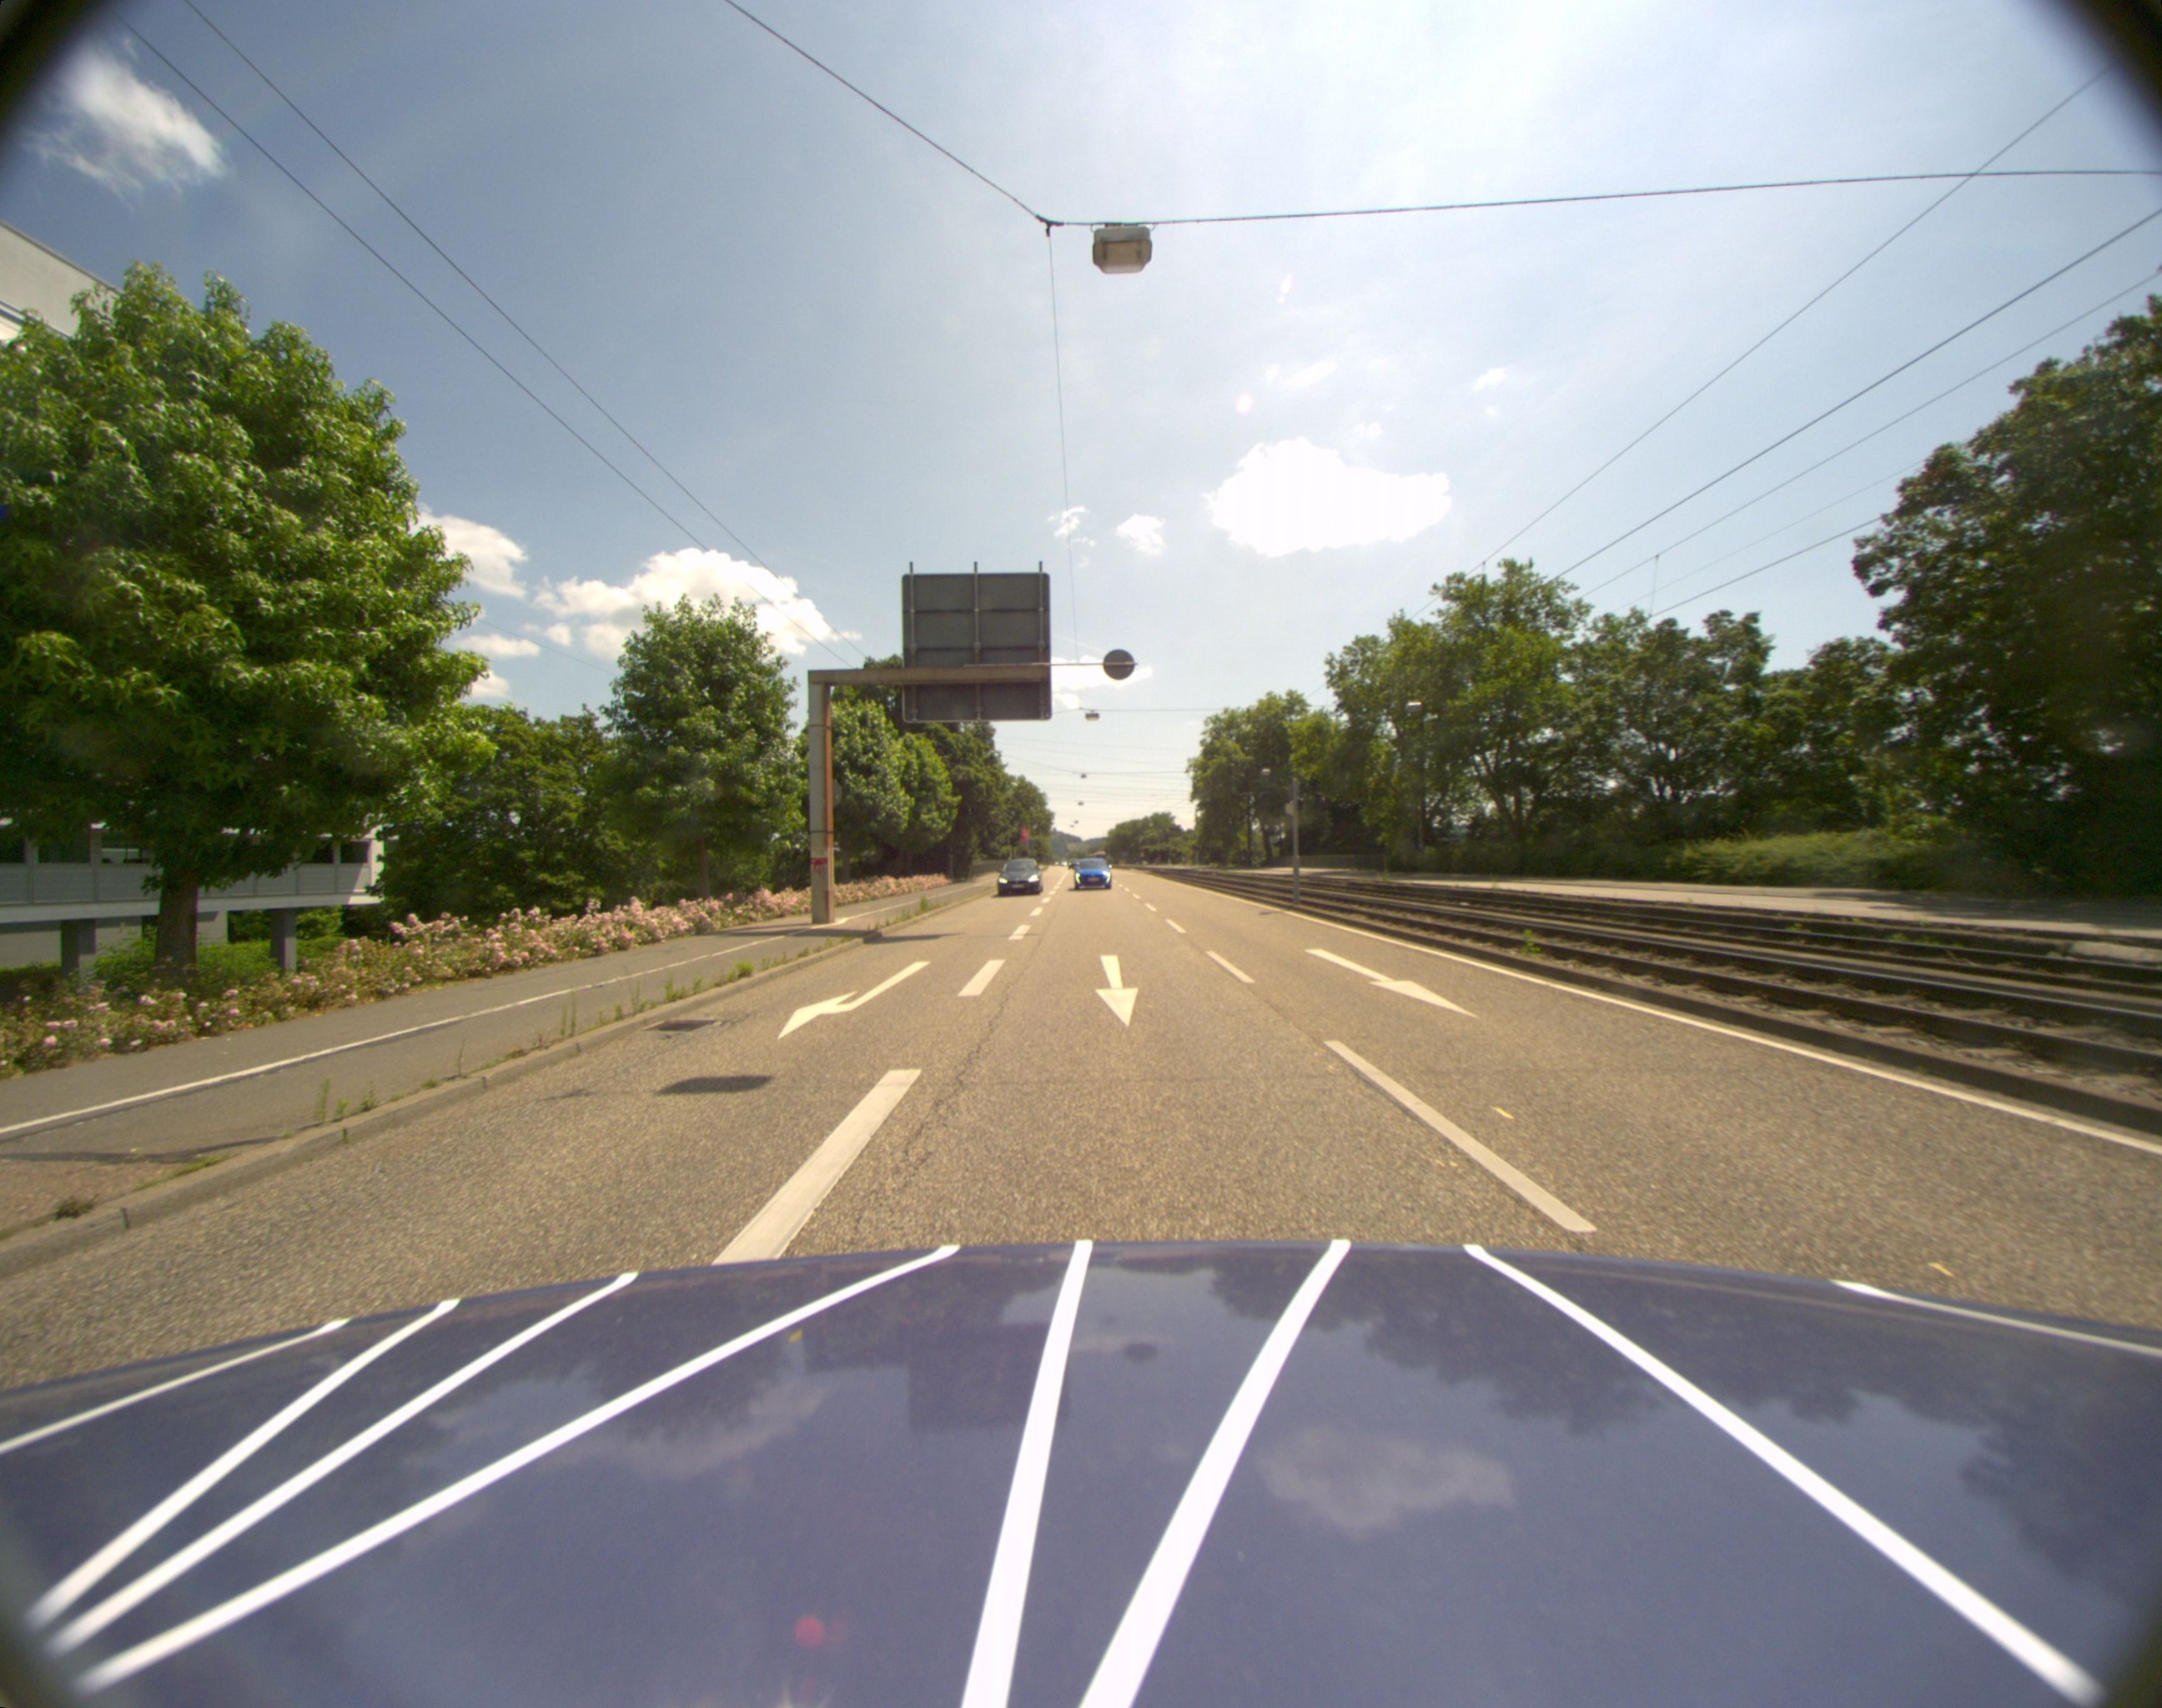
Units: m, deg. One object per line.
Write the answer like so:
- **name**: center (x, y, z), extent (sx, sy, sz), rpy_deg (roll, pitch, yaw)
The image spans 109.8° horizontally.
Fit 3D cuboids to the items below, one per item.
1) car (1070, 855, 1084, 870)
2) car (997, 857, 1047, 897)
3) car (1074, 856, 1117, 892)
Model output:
- **car**: center (-0.591, 1.272, 111.080), extent (1.998, 2.002, 4.000), rpy_deg (-3, 0, 0)
- **car**: center (-2.543, 0.949, 33.523), extent (1.765, 1.517, 4.099), rpy_deg (-3, 0, 1)
- **car**: center (0.652, 0.869, 35.053), extent (1.842, 1.446, 3.999), rpy_deg (-1, 1, 1)
